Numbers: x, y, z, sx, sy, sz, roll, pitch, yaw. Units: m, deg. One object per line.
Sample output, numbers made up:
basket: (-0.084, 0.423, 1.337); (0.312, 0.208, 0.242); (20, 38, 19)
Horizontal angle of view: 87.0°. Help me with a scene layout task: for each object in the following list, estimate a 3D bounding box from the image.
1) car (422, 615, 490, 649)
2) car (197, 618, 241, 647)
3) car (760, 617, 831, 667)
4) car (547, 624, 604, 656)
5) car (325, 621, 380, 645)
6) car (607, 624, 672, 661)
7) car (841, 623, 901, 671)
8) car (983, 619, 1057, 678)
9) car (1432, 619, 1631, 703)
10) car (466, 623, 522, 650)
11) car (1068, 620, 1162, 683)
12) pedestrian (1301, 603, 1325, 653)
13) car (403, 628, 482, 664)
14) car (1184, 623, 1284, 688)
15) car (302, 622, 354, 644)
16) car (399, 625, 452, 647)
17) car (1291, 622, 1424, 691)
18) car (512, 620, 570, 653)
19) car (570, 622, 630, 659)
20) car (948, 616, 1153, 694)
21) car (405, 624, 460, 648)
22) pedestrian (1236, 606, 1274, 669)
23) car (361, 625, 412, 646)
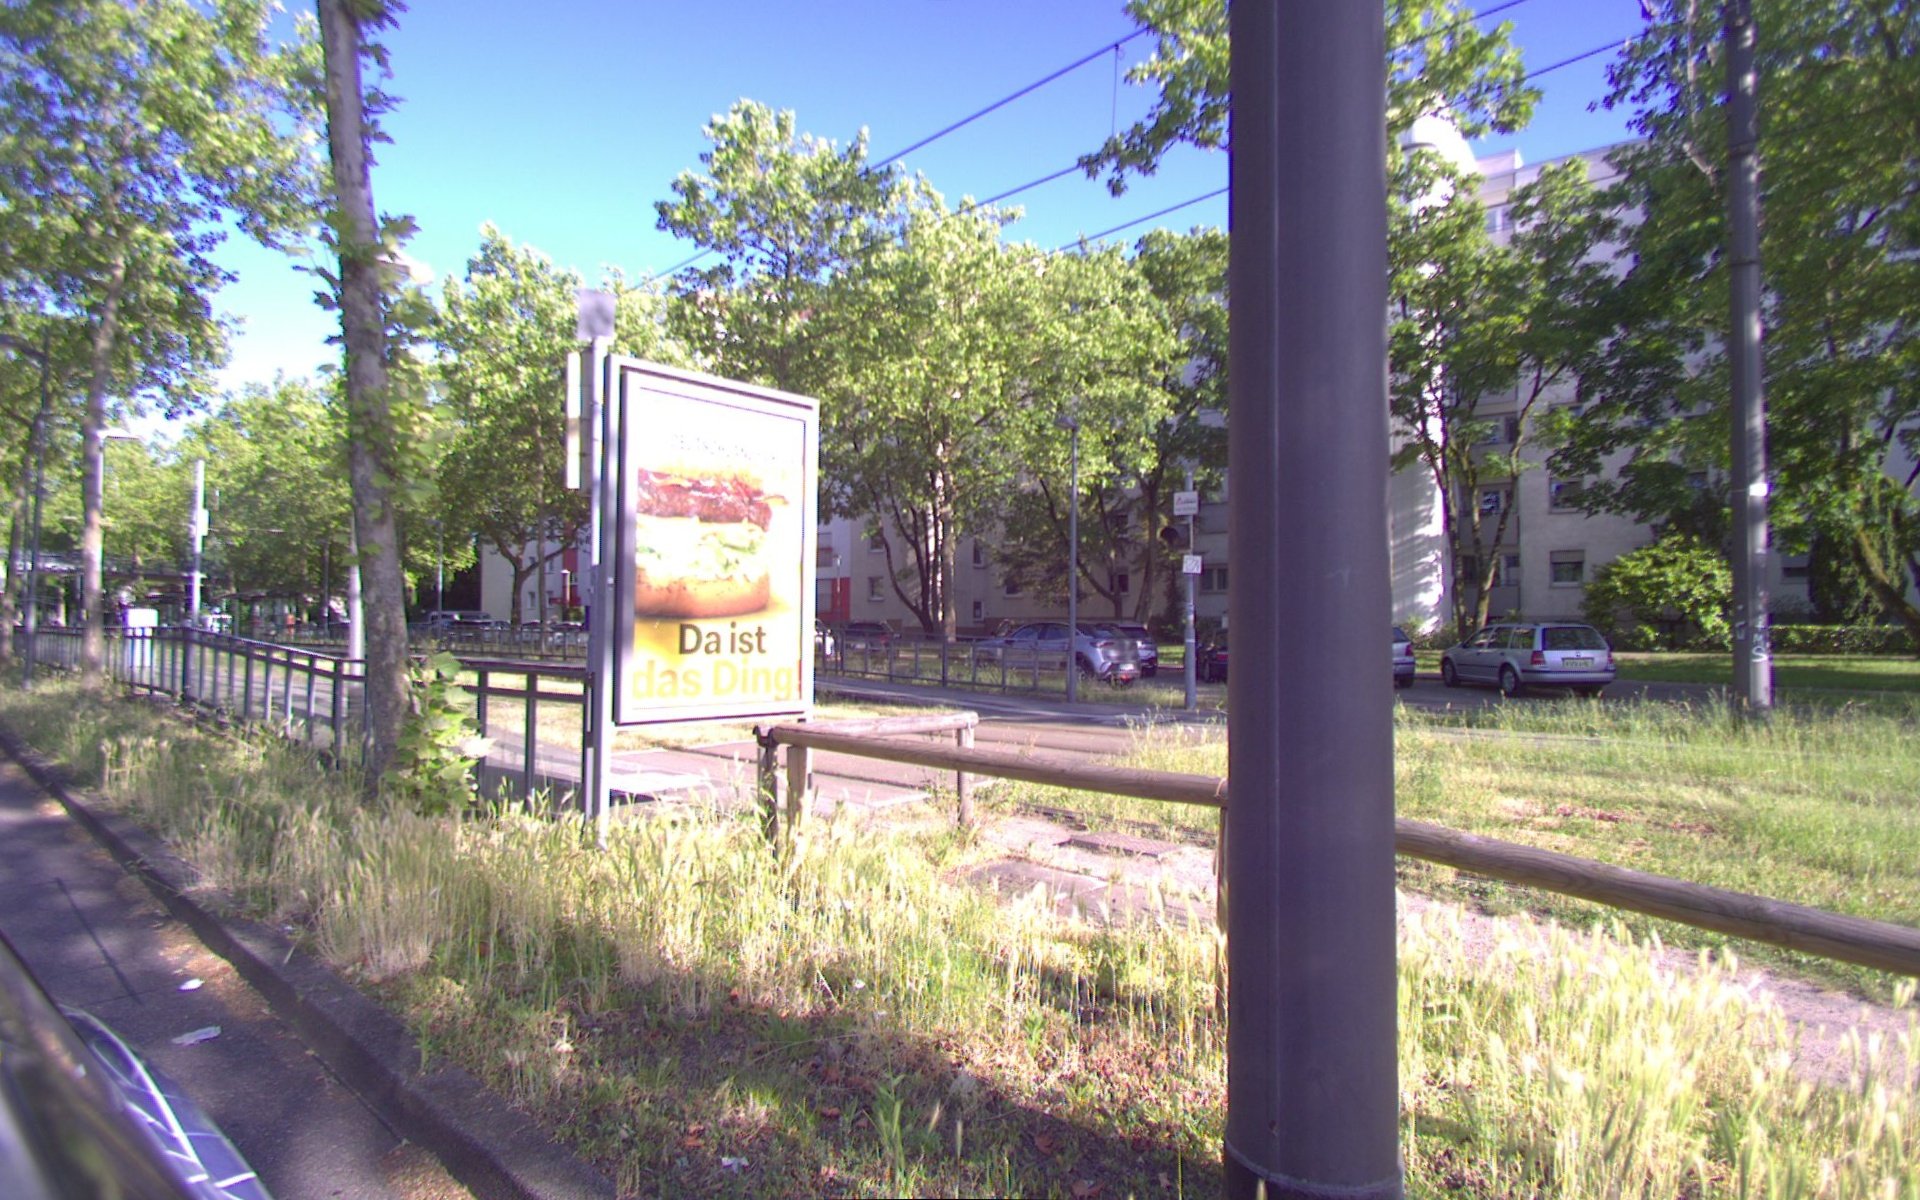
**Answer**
car: (-28.482, 1.772, 57.318); (1.843, 1.826, 4.047); (0, -1, 0)
car: (-53.945, 2.352, 73.650); (4.652, 2.007, 1.772); (-1, -2, 43)
car: (-5.992, 1.497, 37.211); (1.791, 1.607, 3.997); (-1, 0, 3)
car: (-18.750, 1.922, 49.464); (1.459, 1.339, 3.488); (-2, 0, -1)
car: (-40.872, 2.211, 68.194); (1.578, 1.582, 3.830); (0, -1, -3)
car: (-14.026, 1.853, 44.478); (1.470, 1.425, 3.880); (-1, 0, 3)
car: (-3.002, 1.554, 34.662); (1.538, 1.439, 3.761); (-1, 0, 3)
car: (1.702, 1.381, 29.836); (1.669, 1.499, 4.003); (-1, 0, -4)
car: (11.503, 1.168, 20.707); (1.685, 1.454, 3.978); (-1, 0, -2)
car: (-25.822, 2.005, 56.178); (1.605, 1.414, 3.488); (0, -1, -1)
car: (4.153, 1.342, 27.678); (1.650, 1.469, 4.004); (-1, 0, -4)
pedestrian: (12.534, 0.998, 35.911); (0.634, 1.770, 0.516); (-1, -2, 39)
car: (-23.215, 2.011, 45.361); (4.100, 1.523, 1.746); (-1, -2, 41)
car: (6.753, 1.327, 25.294); (1.572, 1.360, 3.922); (-1, 0, 3)
car: (-45.366, 2.332, 72.737); (1.578, 1.538, 3.737); (0, -1, -3)
car: (-33.042, 2.200, 62.633); (1.459, 1.311, 3.488); (0, -1, -1)
car: (9.121, 1.245, 23.531); (1.553, 1.431, 3.620); (-1, -1, -1)
car: (-21.104, 1.813, 51.053); (1.539, 1.436, 3.489); (-3, 0, -2)
car: (-16.684, 1.856, 46.994); (1.445, 1.519, 3.393); (-1, 0, 3)
car: (1.897, 1.135, 22.146); (4.332, 1.534, 1.786); (-1, -2, 45)
car: (-30.935, 2.095, 59.428); (1.459, 1.354, 3.488); (0, -1, -1)
pedestrian: (8.420, 1.052, 28.889); (0.755, 1.770, 0.752); (-2, -2, 41)
car: (-37.403, 2.310, 66.088); (1.459, 1.330, 3.488); (0, -1, -1)
